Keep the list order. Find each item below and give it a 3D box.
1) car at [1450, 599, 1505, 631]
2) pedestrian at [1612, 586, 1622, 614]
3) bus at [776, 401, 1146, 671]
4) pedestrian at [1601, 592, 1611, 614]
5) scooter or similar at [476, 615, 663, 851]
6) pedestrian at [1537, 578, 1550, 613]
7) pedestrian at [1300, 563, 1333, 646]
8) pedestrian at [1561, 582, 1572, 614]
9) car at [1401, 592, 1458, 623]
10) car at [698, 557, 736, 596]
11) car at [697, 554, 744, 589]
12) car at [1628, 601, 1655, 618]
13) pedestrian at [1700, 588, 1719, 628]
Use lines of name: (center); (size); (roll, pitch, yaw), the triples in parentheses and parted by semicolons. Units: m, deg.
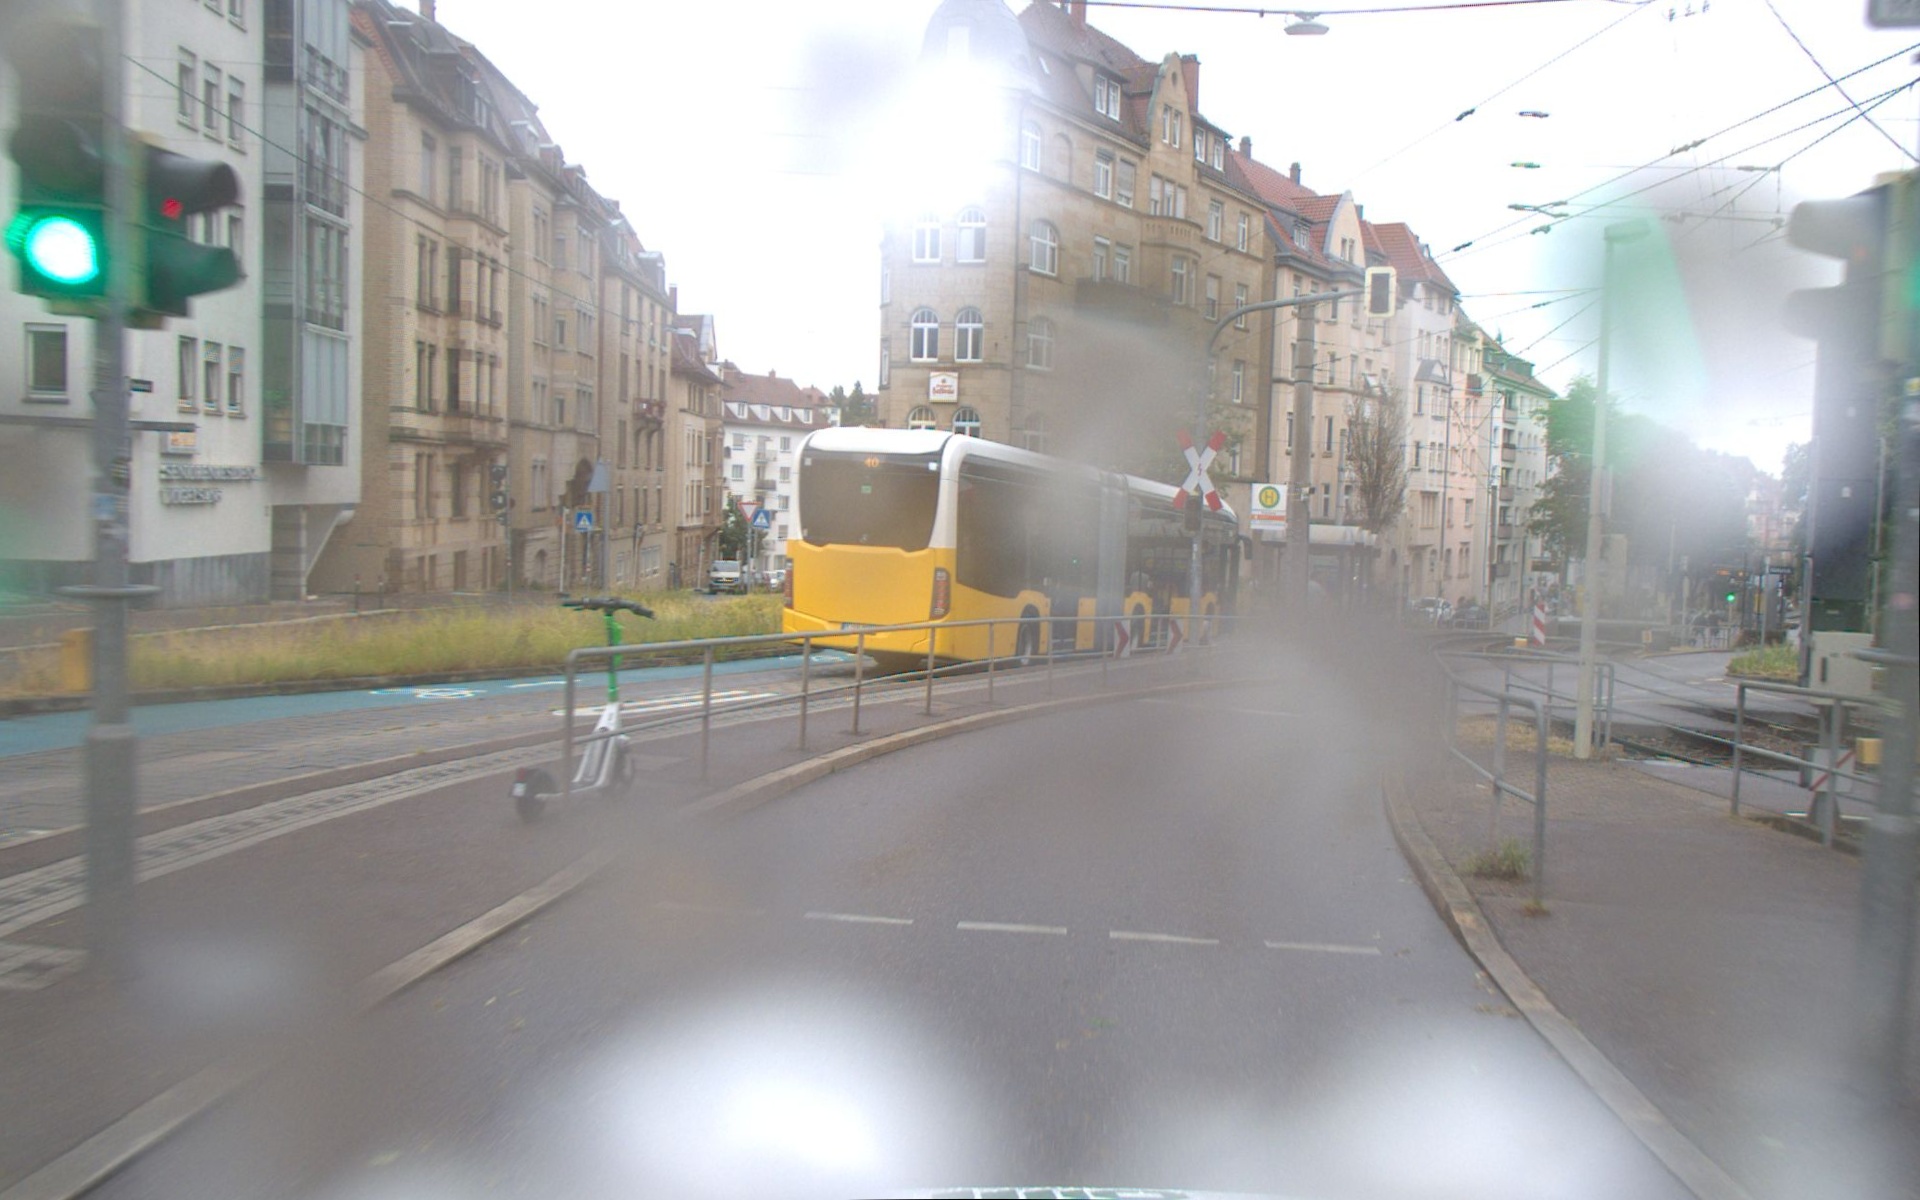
car: (31.305, 0.925, 100.042); (1.958, 1.762, 4.800); (2, -1, 33)
pedestrian: (42.978, 0.004, 108.212); (0.540, 1.772, 0.613); (1, -1, 30)
bus: (0.428, -0.842, 26.332); (2.538, 3.529, 9.105); (2, 0, 22)
pedestrian: (41.947, 0.192, 107.370); (0.540, 1.438, 0.613); (1, -1, 30)
scooter or similar: (-2.109, 0.674, 9.117); (0.424, 1.133, 1.606); (3, 1, 7)
pedestrian: (31.856, -0.247, 90.261); (0.550, 1.882, 0.597); (1, -1, 30)
pedestrian: (7.789, 0.090, 36.137); (0.564, 1.782, 0.543); (2, 0, 20)
pedestrian: (35.814, -0.140, 97.680); (0.506, 1.870, 0.760); (1, -1, 30)
car: (26.295, 0.425, 92.464); (1.888, 1.650, 4.524); (2, 0, 32)
car: (-14.324, -1.358, 97.337); (2.098, 2.174, 4.846); (2, 0, -9)
car: (-15.593, -1.846, 108.030); (2.093, 2.174, 4.859); (2, 0, 2)
car: (66.084, 0.868, 160.272); (1.695, 1.541, 4.485); (3, 1, 31)
pedestrian: (34.808, 0.381, 76.789); (0.638, 1.815, 0.846); (3, 1, 31)
